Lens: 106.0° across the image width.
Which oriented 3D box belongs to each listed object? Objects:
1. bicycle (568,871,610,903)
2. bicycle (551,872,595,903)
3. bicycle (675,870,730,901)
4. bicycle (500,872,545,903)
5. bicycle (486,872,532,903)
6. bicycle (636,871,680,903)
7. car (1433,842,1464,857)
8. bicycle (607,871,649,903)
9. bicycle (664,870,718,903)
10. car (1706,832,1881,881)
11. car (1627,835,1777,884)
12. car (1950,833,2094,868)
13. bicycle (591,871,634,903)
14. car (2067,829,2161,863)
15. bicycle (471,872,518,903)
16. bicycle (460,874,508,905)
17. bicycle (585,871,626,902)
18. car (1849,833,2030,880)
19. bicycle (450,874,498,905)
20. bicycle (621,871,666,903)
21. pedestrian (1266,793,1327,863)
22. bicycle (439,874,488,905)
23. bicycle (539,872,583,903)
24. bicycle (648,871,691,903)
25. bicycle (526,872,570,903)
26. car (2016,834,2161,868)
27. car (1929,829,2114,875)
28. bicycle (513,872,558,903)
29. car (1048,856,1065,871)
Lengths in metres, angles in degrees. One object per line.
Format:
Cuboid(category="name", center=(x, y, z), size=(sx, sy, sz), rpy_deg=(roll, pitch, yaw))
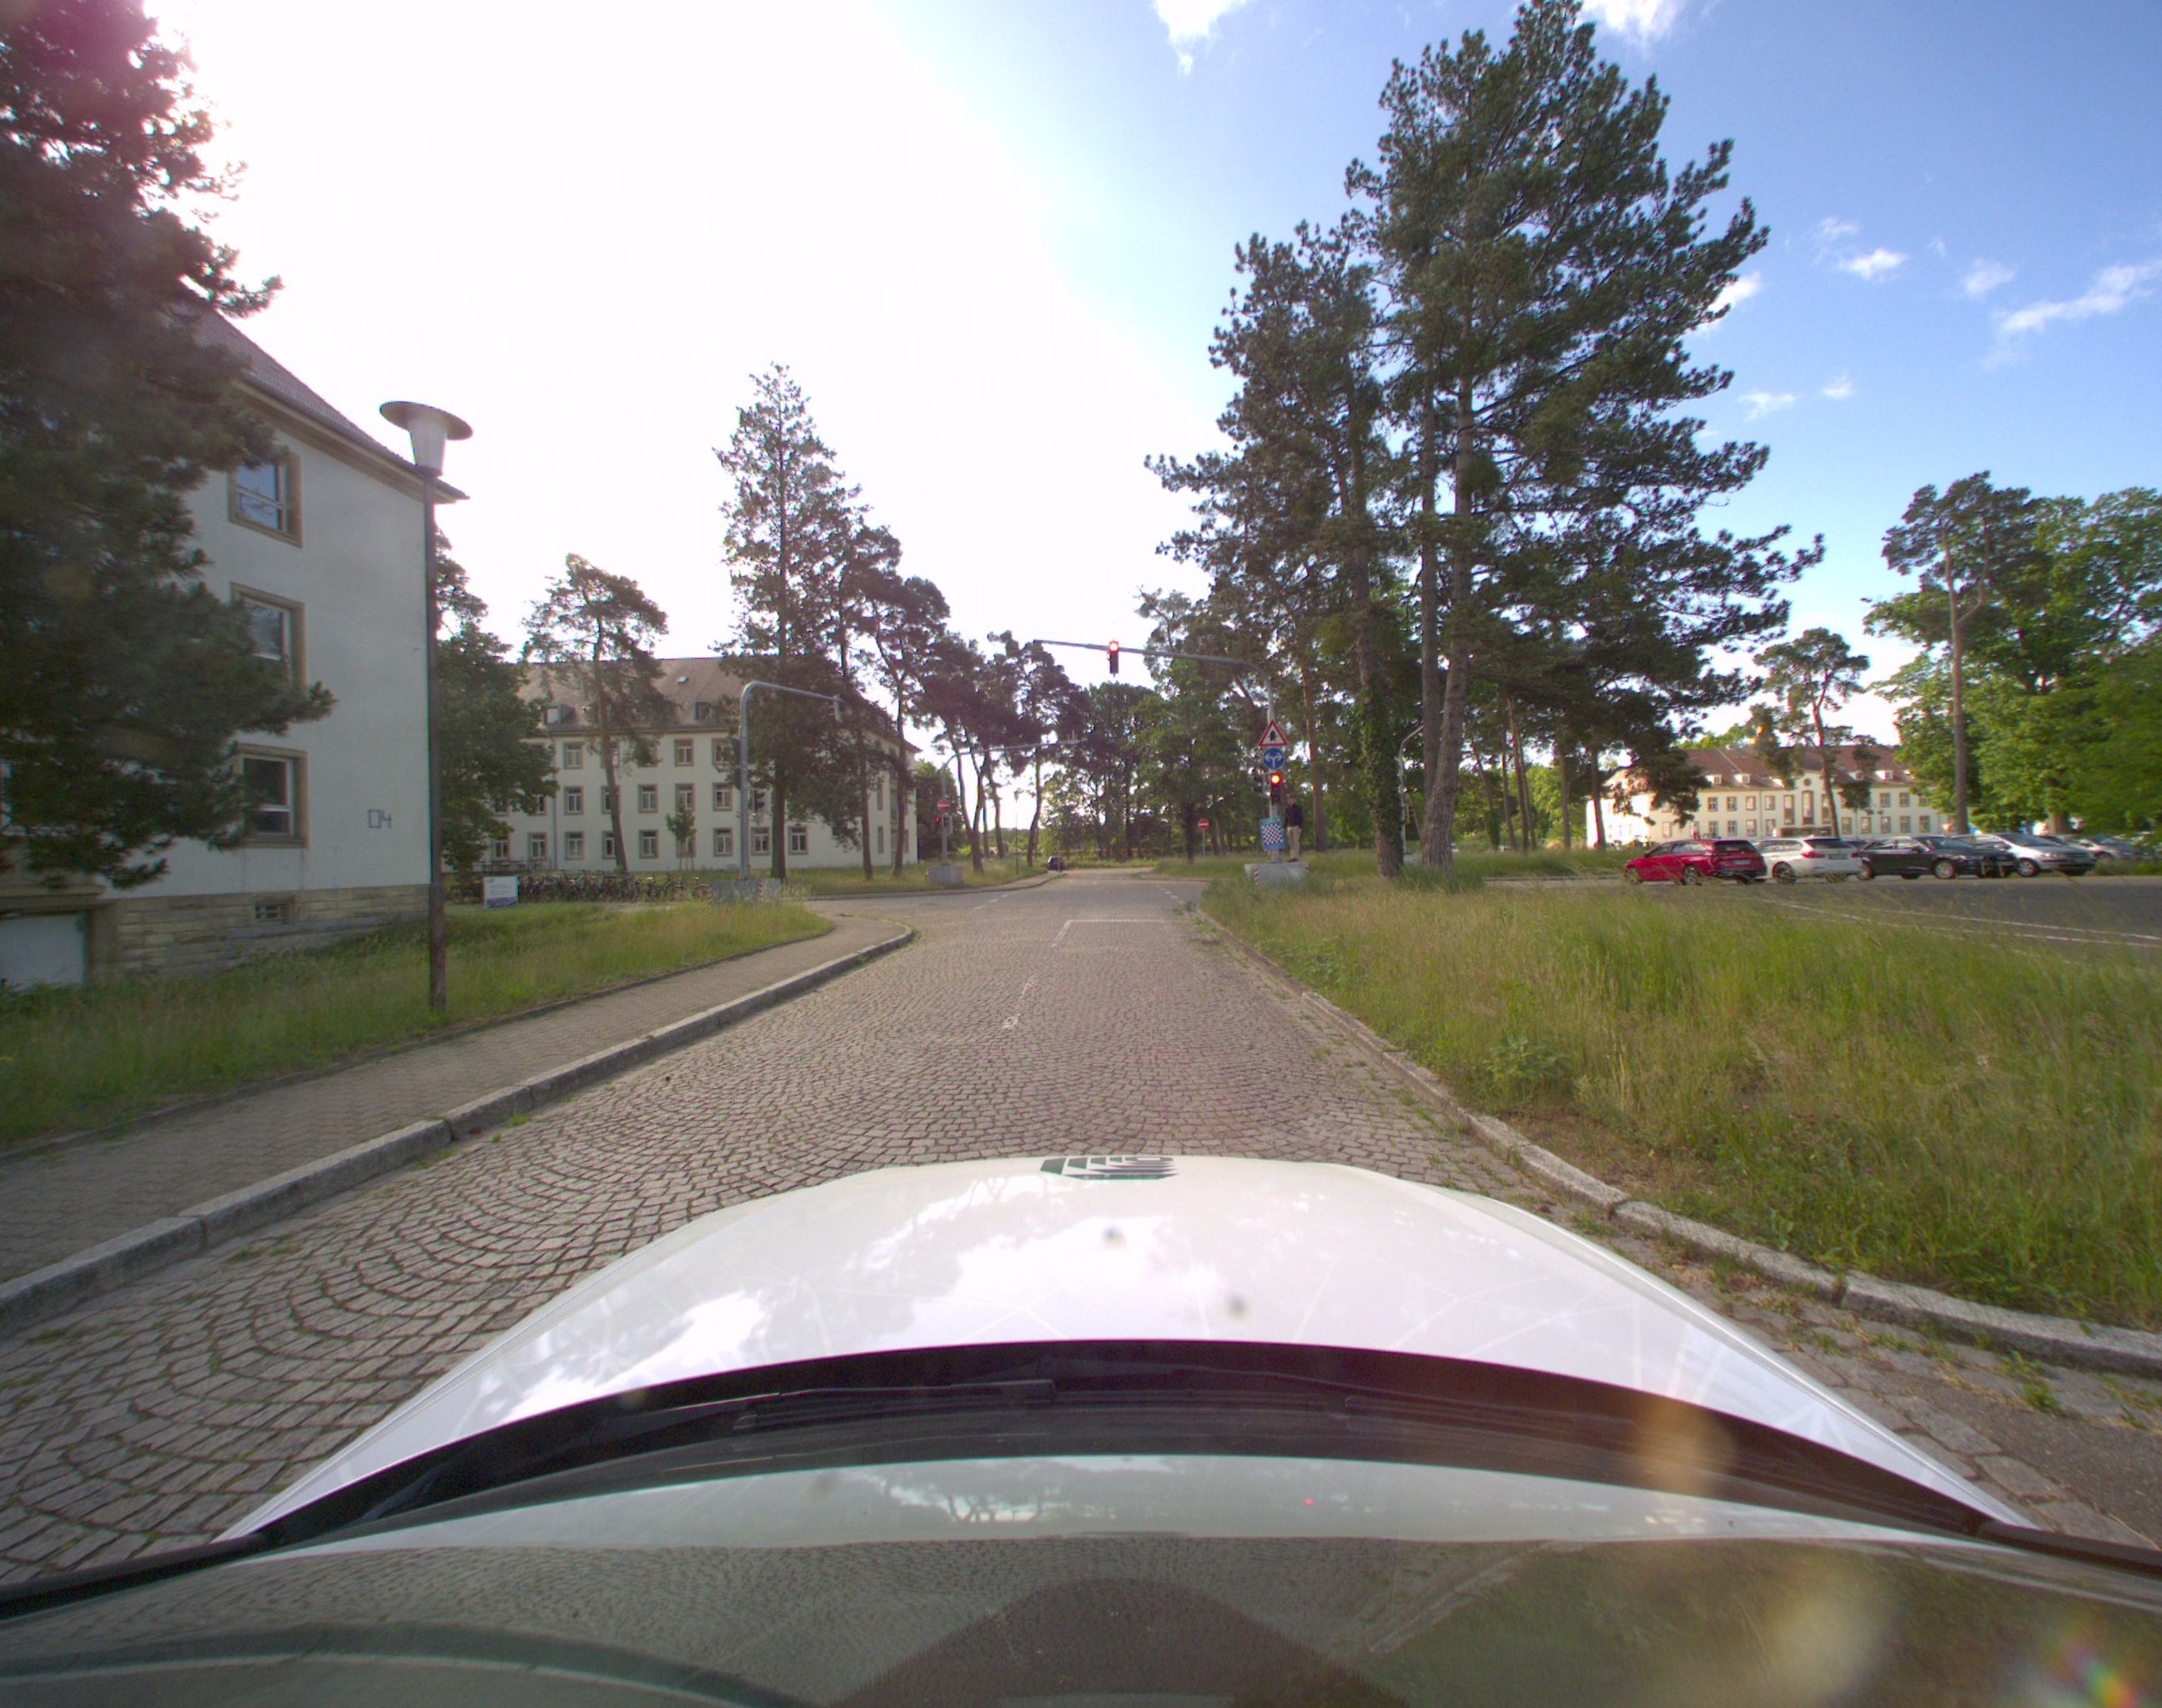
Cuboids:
Cuboid(category="bicycle", center=(-20.733, 1.377, 34.364), size=(0.512, 1.220, 2.016), rpy_deg=(-2, 0, 2))
Cuboid(category="bicycle", center=(-21.382, 1.380, 34.326), size=(0.512, 1.220, 1.977), rpy_deg=(-2, 0, 1))
Cuboid(category="bicycle", center=(-15.619, 1.282, 33.582), size=(1.937, 1.220, 0.635), rpy_deg=(-2, 0, 1))
Cuboid(category="bicycle", center=(-23.526, 1.385, 34.352), size=(0.512, 1.220, 1.938), rpy_deg=(-2, 0, 1))
Cuboid(category="bicycle", center=(-24.118, 1.388, 34.379), size=(0.512, 1.220, 1.938), rpy_deg=(-2, 0, 1))
Cuboid(category="bicycle", center=(-17.461, 1.359, 33.646), size=(0.630, 1.220, 2.125), rpy_deg=(-2, 0, 1))
Cuboid(category="car", center=(42.755, -0.515, 94.799), size=(1.820, 1.582, 4.164), rpy_deg=(-2, 0, 2))
Cuboid(category="bicycle", center=(-18.908, 1.367, 34.060), size=(0.570, 1.220, 1.990), rpy_deg=(-2, 0, 1))
Cuboid(category="bicycle", center=(-15.743, 1.305, 32.869), size=(1.855, 1.220, 0.635), rpy_deg=(-2, 0, 1))
Cuboid(category="car", center=(22.190, 0.135, 25.635), size=(1.773, 1.379, 4.240), rpy_deg=(-2, -2, 0))
Cuboid(category="car", center=(19.324, 0.190, 25.588), size=(1.649, 1.399, 4.131), rpy_deg=(0, -1, 2))
Cuboid(category="car", center=(42.528, -0.163, 36.977), size=(1.717, 1.493, 4.243), rpy_deg=(0, 0, 2))
Cuboid(category="bicycle", center=(-19.652, 1.373, 34.201), size=(0.576, 1.220, 2.030), rpy_deg=(-2, 0, 1))
Cuboid(category="car", center=(47.918, -0.350, 36.785), size=(1.717, 1.468, 4.243), rpy_deg=(0, 0, 2))
Cuboid(category="bicycle", center=(-24.729, 1.392, 34.376), size=(0.512, 1.220, 1.938), rpy_deg=(-2, 0, 1))
Cuboid(category="bicycle", center=(-25.190, 1.486, 34.385), size=(0.512, 1.220, 1.938), rpy_deg=(-2, 0, 1))
Cuboid(category="bicycle", center=(-20.212, 1.373, 34.631), size=(0.546, 1.220, 1.900), rpy_deg=(-2, 0, 1))
Cuboid(category="car", center=(27.267, 0.063, 26.073), size=(1.610, 1.315, 4.048), rpy_deg=(-2, 0, 3))
Cuboid(category="bicycle", center=(-25.619, 1.488, 34.392), size=(0.512, 1.220, 1.938), rpy_deg=(-2, 0, 1))
Cuboid(category="bicycle", center=(-18.064, 1.362, 33.662), size=(0.630, 1.220, 2.105), rpy_deg=(-2, 0, 1))
Cuboid(category="pedestrian", center=(5.823, -0.691, 22.034), size=(1.069, 1.796, 1.157), rpy_deg=(-2, 0, -44))
Cuboid(category="bicycle", center=(-26.067, 1.490, 34.405), size=(0.512, 1.220, 1.938), rpy_deg=(-2, 0, 1))
Cuboid(category="bicycle", center=(-21.900, 1.379, 34.328), size=(0.512, 1.220, 1.977), rpy_deg=(-2, 0, 1))
Cuboid(category="bicycle", center=(-16.977, 1.355, 33.647), size=(0.630, 1.220, 2.115), rpy_deg=(-2, 0, 1))
Cuboid(category="bicycle", center=(-22.426, 1.379, 34.303), size=(0.512, 1.220, 1.955), rpy_deg=(-2, 0, 1))
Cuboid(category="car", center=(44.900, -0.142, 36.289), size=(1.717, 1.425, 4.243), rpy_deg=(0, 0, 2))
Cuboid(category="car", center=(30.139, -0.051, 26.287), size=(1.716, 1.372, 3.796), rpy_deg=(0, 0, 4))
Cuboid(category="bicycle", center=(-22.981, 1.382, 34.322), size=(0.512, 1.220, 1.938), rpy_deg=(-2, 0, 1))
Cuboid(category="car", center=(-2.710, 1.015, 89.968), size=(1.704, 1.496, 3.918), rpy_deg=(-2, 0, 0))
